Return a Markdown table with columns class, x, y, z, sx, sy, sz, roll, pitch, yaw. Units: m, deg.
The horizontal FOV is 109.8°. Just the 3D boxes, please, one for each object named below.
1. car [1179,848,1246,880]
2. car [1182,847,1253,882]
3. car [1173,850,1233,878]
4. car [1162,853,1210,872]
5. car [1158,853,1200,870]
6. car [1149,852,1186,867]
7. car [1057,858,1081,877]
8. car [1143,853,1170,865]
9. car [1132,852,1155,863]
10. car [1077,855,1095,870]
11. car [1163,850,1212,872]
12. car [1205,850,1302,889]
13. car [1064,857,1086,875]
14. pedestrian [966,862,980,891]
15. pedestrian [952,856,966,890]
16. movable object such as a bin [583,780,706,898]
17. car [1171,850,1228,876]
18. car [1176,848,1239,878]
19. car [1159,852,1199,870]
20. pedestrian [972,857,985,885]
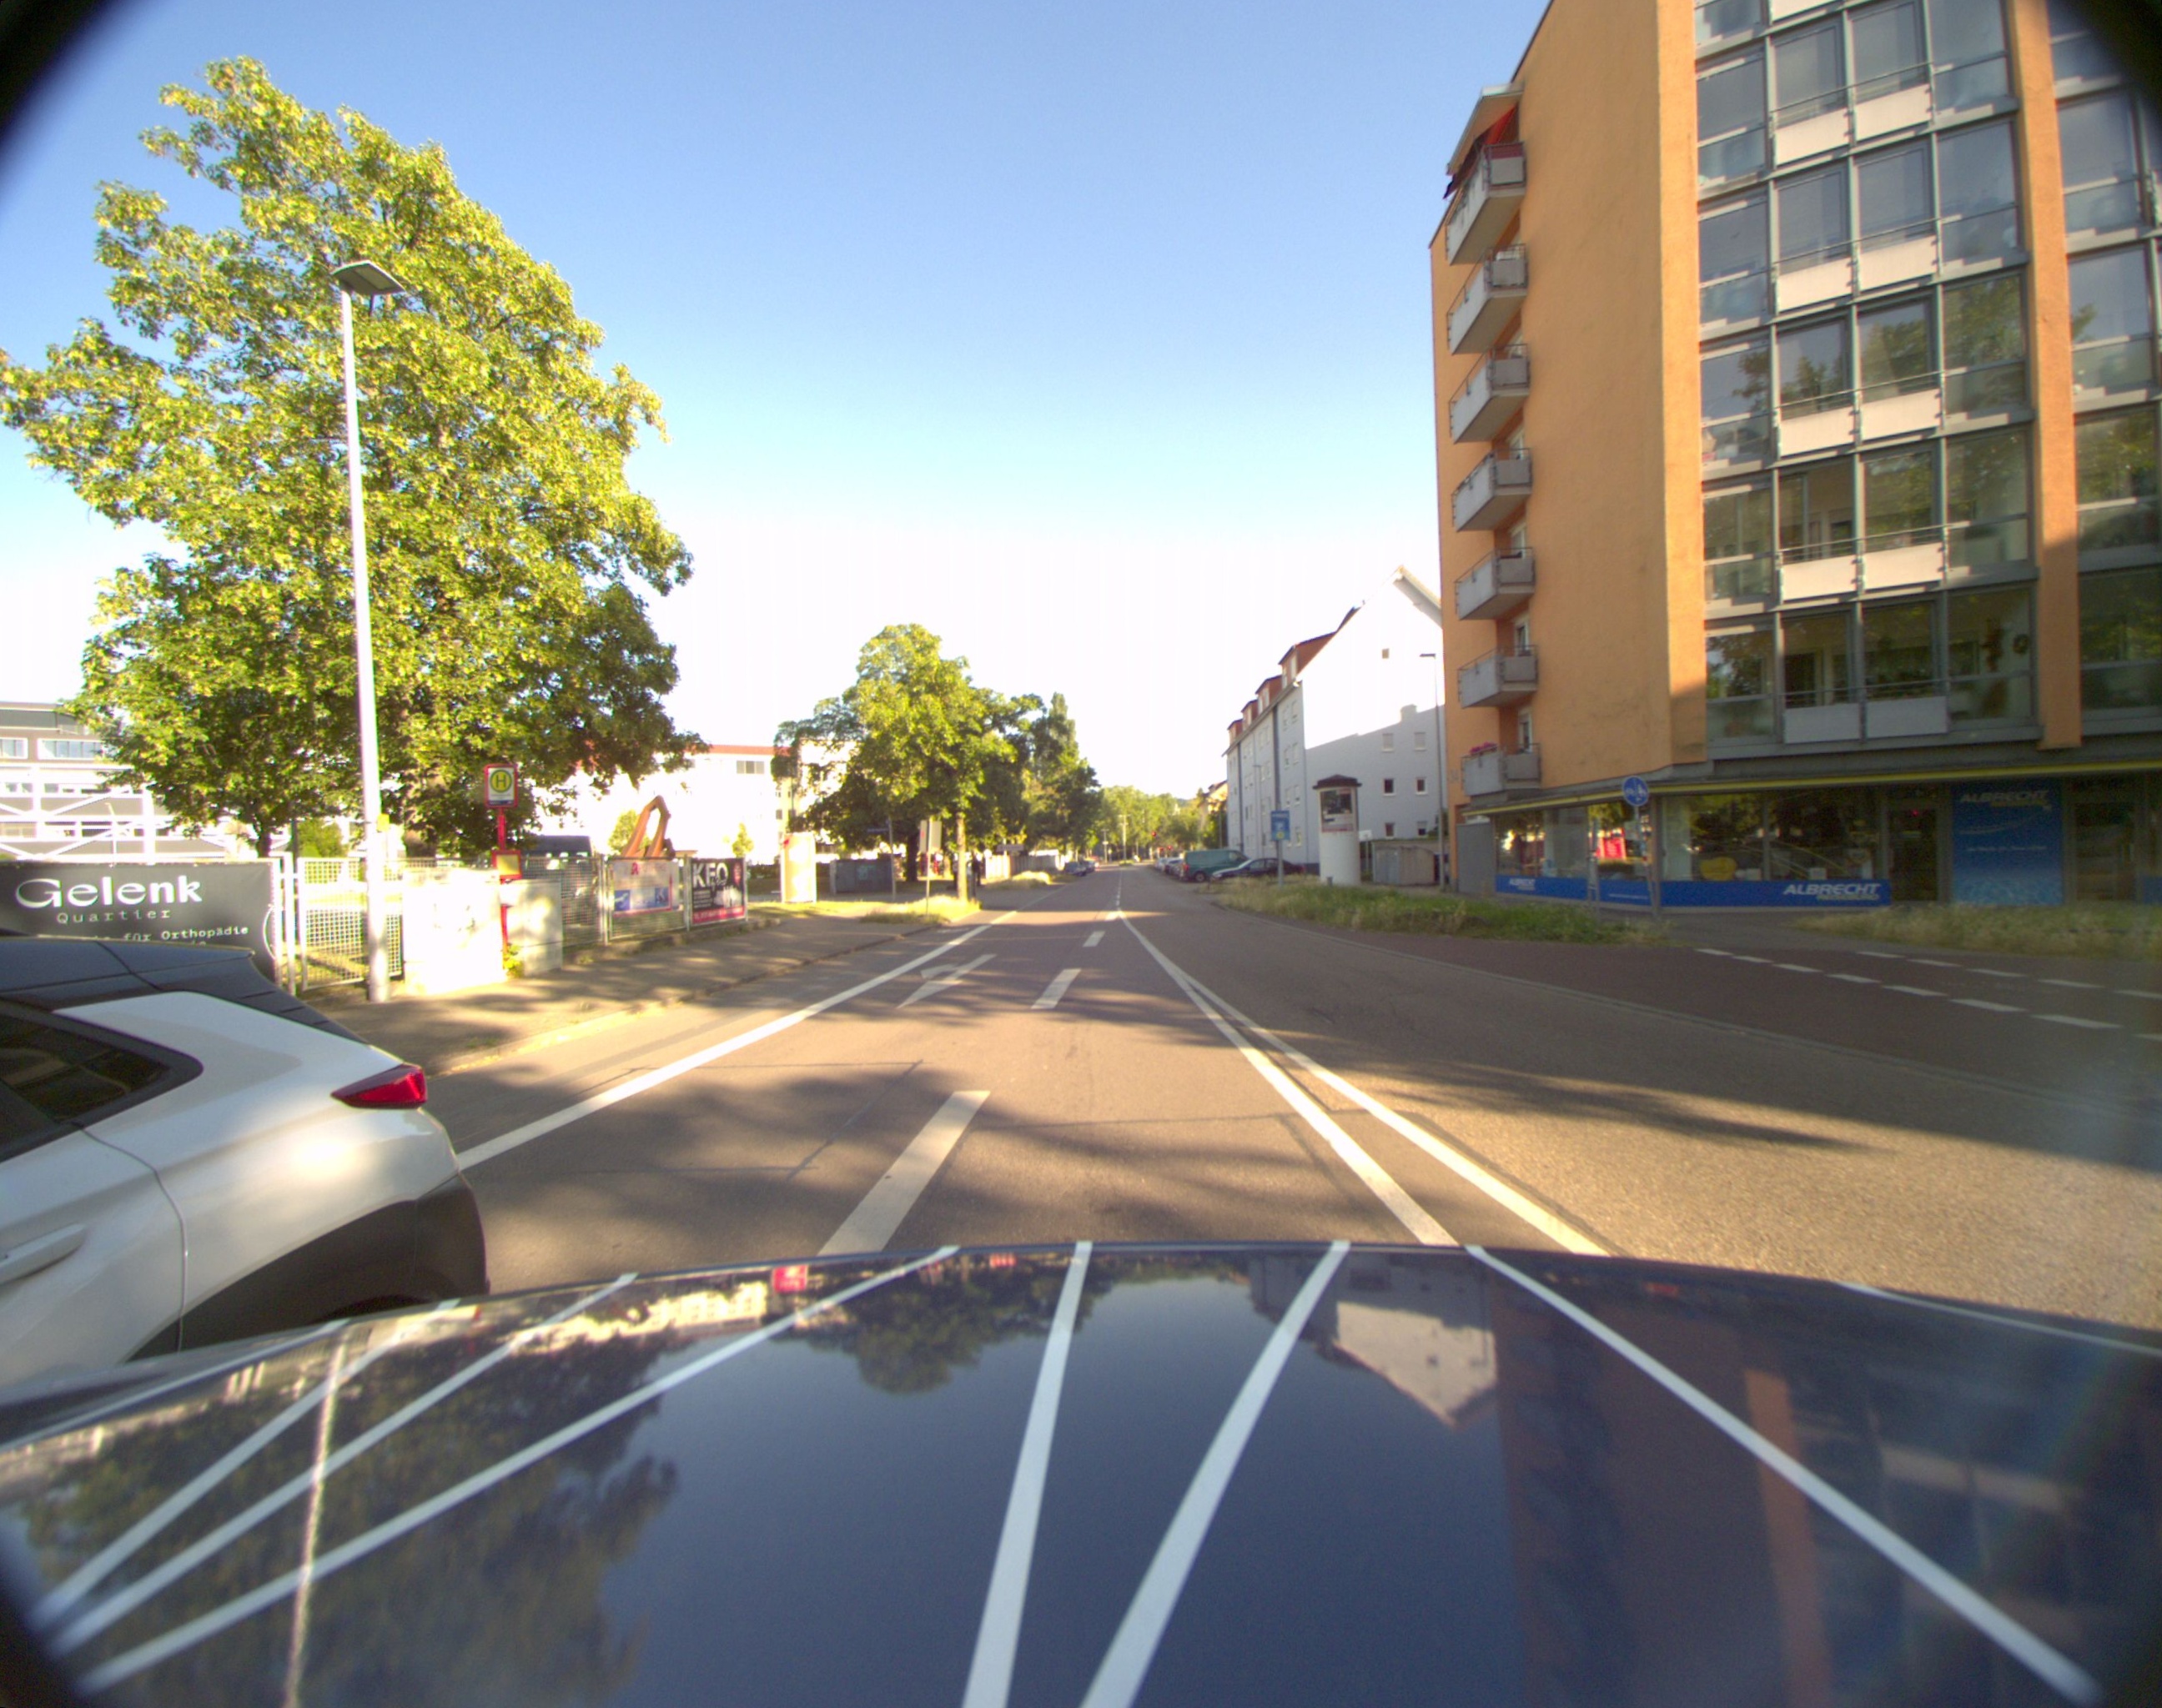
| class | x | y | z | sx | sy | sz | roll | pitch | yaw |
| --- | --- | --- | --- | --- | --- | --- | --- | --- | --- |
| car | 8.356 | 0.628 | 48.589 | 3.995 | 1.805 | 2.000 | -2 | 1 | 5 |
| car | 8.193 | 0.598 | 45.941 | 3.996 | 1.936 | 2.000 | -2 | 1 | 4 |
| car | 8.570 | 0.672 | 53.695 | 4.059 | 1.805 | 1.937 | -2 | 1 | 5 |
| car | 9.567 | 0.778 | 69.376 | 4.257 | 1.564 | 1.867 | -2 | 1 | 5 |
| car | 10.307 | 0.761 | 79.933 | 4.257 | 1.564 | 1.867 | -2 | 1 | 5 |
| car | 10.222 | 0.651 | 90.192 | 4.257 | 1.564 | 1.867 | -2 | 1 | 5 |
| car | -1.090 | 1.223 | 69.597 | 1.998 | 1.521 | 3.999 | -2 | 1 | 1 |
| car | 10.466 | 0.710 | 105.244 | 3.538 | 1.564 | 1.867 | -2 | 1 | 5 |
| car | 9.702 | 0.595 | 118.225 | 3.538 | 1.564 | 1.867 | -2 | 1 | 5 |
| car | 0.568 | 0.956 | 87.978 | 1.998 | 1.521 | 3.999 | -2 | 1 | 1 |
| car | 9.274 | 0.613 | 66.489 | 4.117 | 1.762 | 1.757 | -2 | 1 | 5 |
| car | 8.297 | 0.735 | 36.876 | 4.423 | 1.652 | 2.001 | -2 | 1 | 9 |
| car | -0.588 | 1.156 | 73.945 | 1.998 | 1.521 | 3.999 | -2 | 1 | 1 |
| pedestrian | -5.567 | 1.151 | 39.193 | 0.609 | 1.426 | 0.639 | -2 | 1 | 1 |
| pedestrian | -6.373 | 0.976 | 39.633 | 0.609 | 1.727 | 0.638 | -2 | 1 | -5 |
| movable object such as a bin | -22.229 | -0.697 | 38.551 | 3.986 | 5.447 | 6.016 | -3 | 1 | -42 |
| car | 8.747 | 0.667 | 56.439 | 4.071 | 1.741 | 1.899 | -2 | 1 | 5 |
| car | 8.499 | 0.592 | 51.344 | 3.995 | 1.805 | 2.000 | -2 | 1 | 5 |
| car | 10.259 | 0.730 | 80.068 | 4.071 | 1.741 | 1.899 | -2 | 1 | 5 |
| pedestrian | -6.071 | 1.008 | 45.034 | 0.696 | 1.659 | 0.638 | -2 | 1 | -11 |
